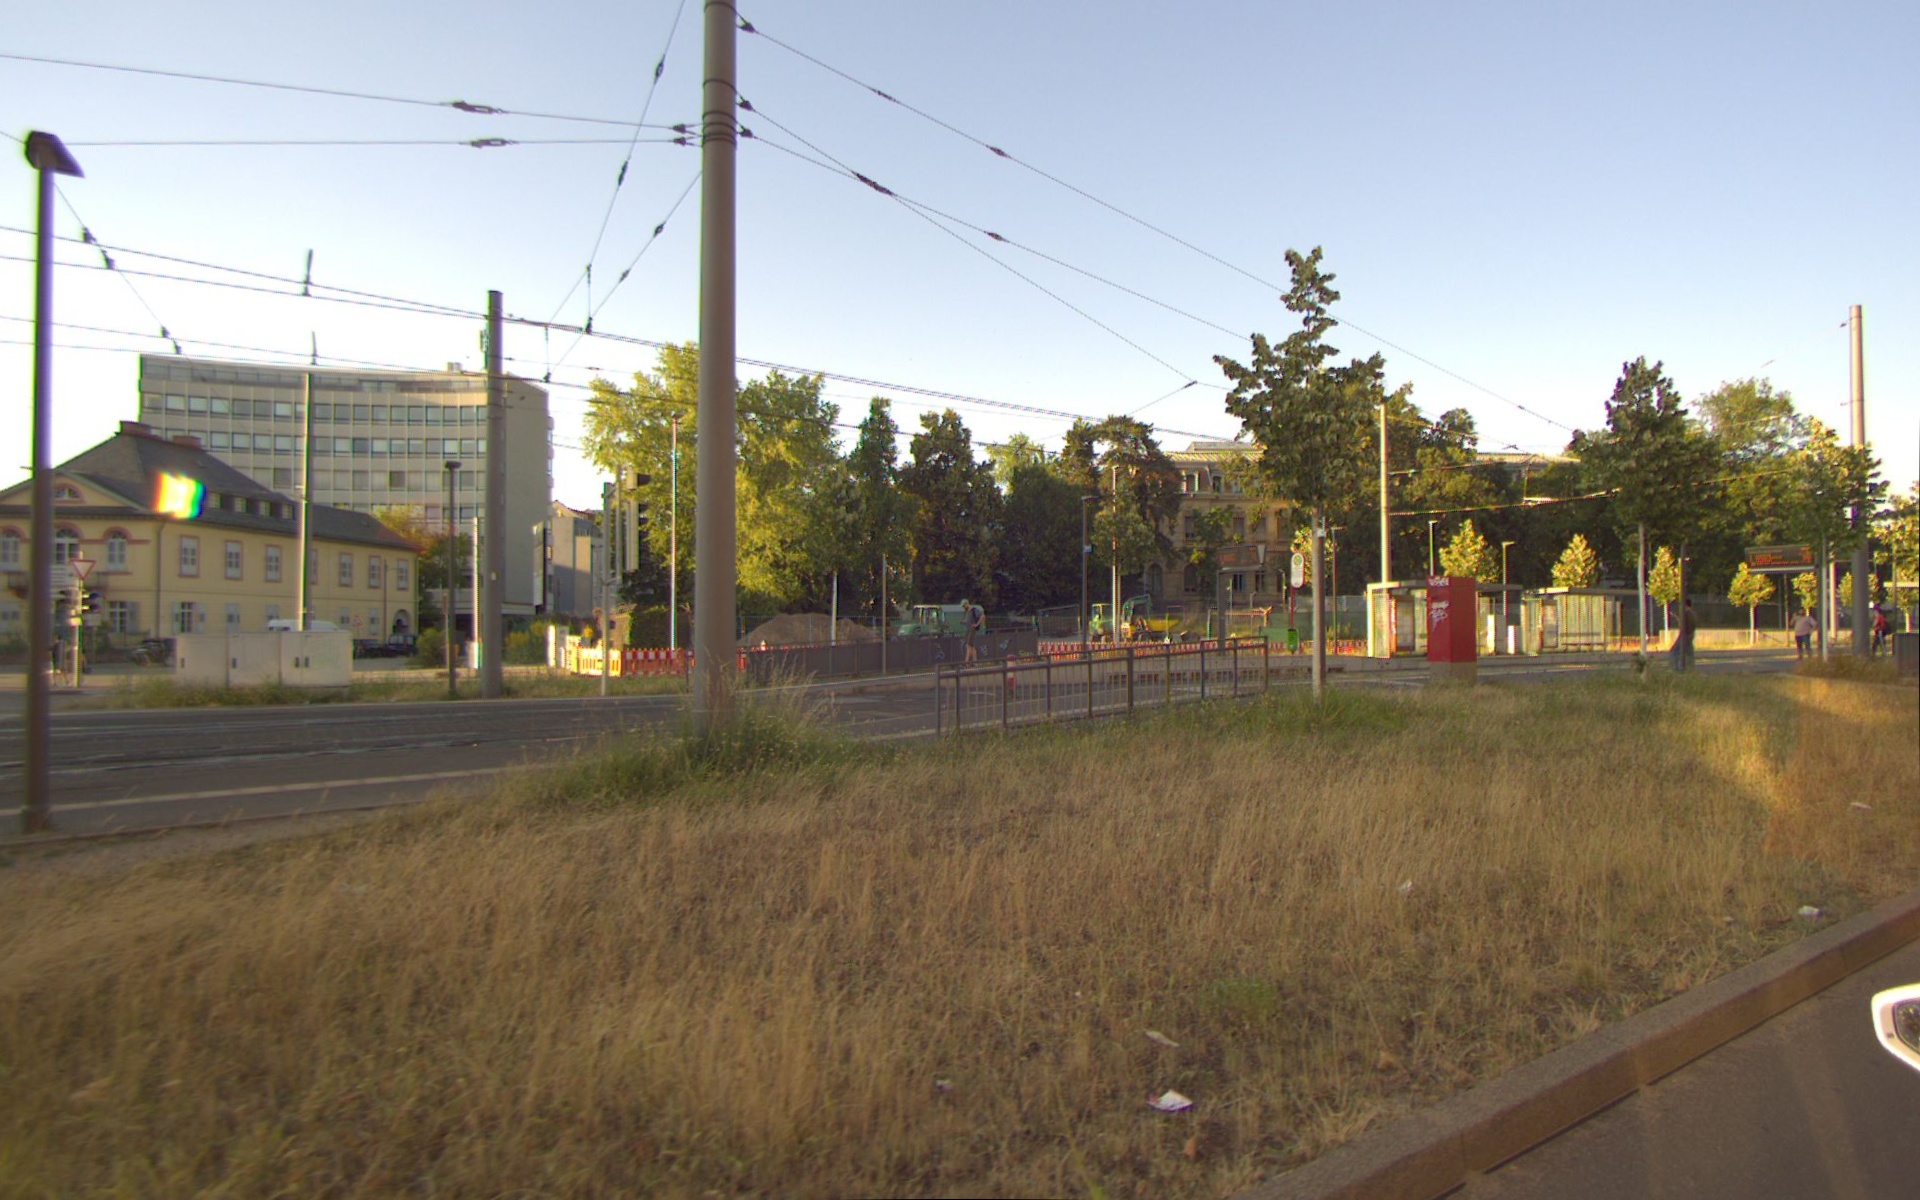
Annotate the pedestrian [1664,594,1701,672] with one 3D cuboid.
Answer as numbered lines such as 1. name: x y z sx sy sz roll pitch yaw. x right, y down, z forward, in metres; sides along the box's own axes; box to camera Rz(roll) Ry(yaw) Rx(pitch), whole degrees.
1. pedestrian: 17.167 0.782 23.856 0.618 1.810 0.469 1 -1 -26

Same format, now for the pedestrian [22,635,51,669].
1. pedestrian: -37.704 2.126 41.020 0.642 1.359 0.591 1 -1 11

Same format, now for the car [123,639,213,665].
1. car: -42.764 2.792 54.325 1.815 1.293 3.590 -1 -2 5

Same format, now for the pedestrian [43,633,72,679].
1. pedestrian: -30.465 1.877 33.916 0.583 1.530 0.650 0 -3 -29

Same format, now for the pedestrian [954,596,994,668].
1. pedestrian: 0.362 0.812 25.931 0.808 1.822 0.690 1 -1 -31

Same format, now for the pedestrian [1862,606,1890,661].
1. pedestrian: 29.771 1.091 32.660 0.628 1.751 0.632 -2 -2 44

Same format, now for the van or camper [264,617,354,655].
1. van or camper: -41.991 2.324 64.914 1.959 2.332 5.120 -1 -2 8

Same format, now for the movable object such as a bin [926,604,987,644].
1. movable object such as a bin: -0.246 1.736 71.630 3.955 2.742 1.983 1 -1 -32

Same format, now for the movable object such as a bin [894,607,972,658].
1. movable object such as a bin: -1.509 1.815 55.845 3.940 2.742 1.991 1 -1 -21

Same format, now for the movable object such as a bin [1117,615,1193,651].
1. movable object such as a bin: 12.815 2.149 65.812 4.883 2.276 1.983 1 -2 -32

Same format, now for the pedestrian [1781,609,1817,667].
1. pedestrian: 25.838 1.158 30.923 0.631 1.768 0.718 0 -2 -41

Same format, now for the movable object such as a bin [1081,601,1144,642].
1. movable object such as a bin: 10.499 1.493 68.947 3.955 2.742 1.983 1 -1 -32

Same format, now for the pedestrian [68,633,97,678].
1. pedestrian: -29.752 1.876 34.062 0.583 1.530 0.650 0 -3 -29
